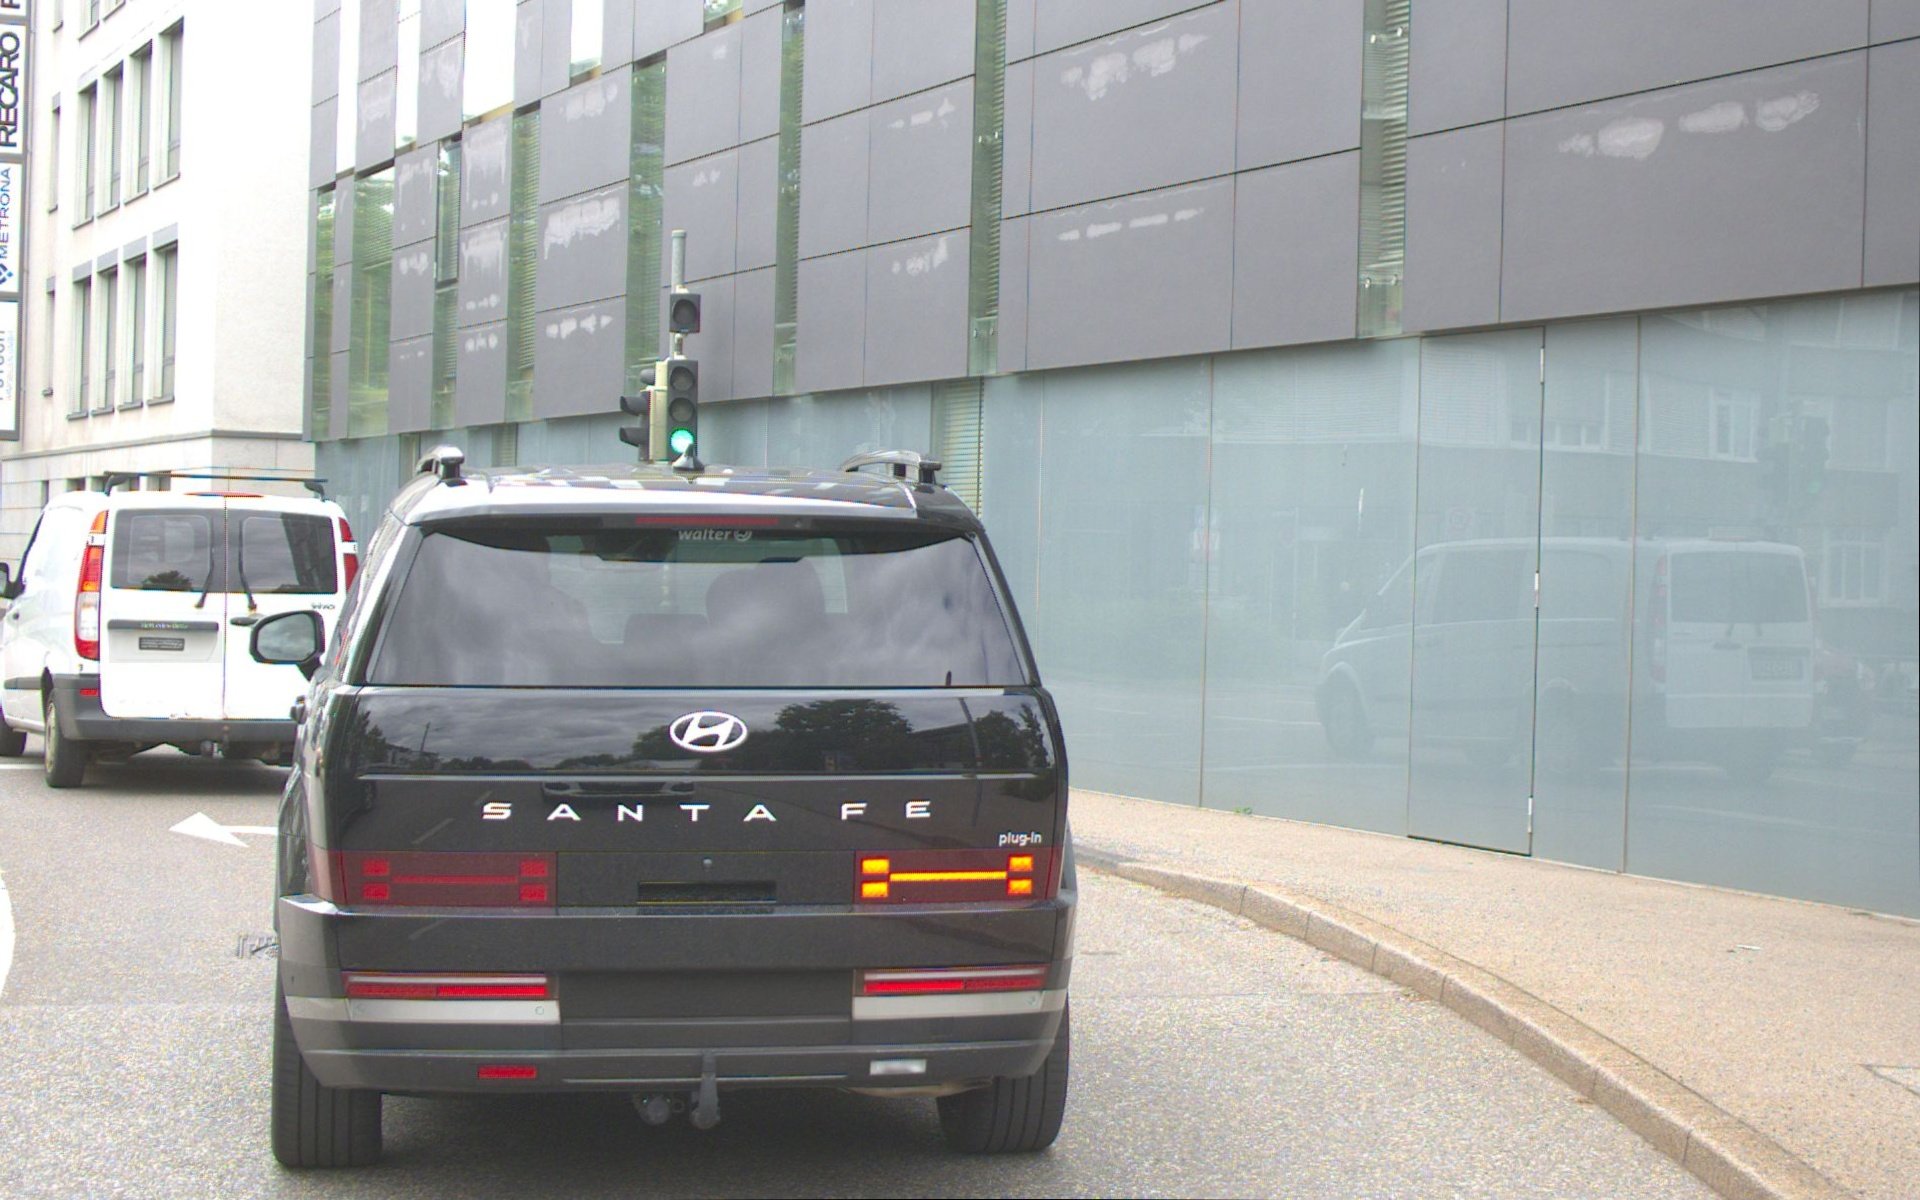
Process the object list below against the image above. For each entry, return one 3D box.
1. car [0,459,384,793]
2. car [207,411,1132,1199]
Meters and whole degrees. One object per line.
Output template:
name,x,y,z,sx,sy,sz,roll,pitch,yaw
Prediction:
car,-5.281,0.129,22.901,1.931,1.987,4.536,1,1,-21
car,-0.925,0.465,9.339,1.908,1.743,4.398,1,1,-9
